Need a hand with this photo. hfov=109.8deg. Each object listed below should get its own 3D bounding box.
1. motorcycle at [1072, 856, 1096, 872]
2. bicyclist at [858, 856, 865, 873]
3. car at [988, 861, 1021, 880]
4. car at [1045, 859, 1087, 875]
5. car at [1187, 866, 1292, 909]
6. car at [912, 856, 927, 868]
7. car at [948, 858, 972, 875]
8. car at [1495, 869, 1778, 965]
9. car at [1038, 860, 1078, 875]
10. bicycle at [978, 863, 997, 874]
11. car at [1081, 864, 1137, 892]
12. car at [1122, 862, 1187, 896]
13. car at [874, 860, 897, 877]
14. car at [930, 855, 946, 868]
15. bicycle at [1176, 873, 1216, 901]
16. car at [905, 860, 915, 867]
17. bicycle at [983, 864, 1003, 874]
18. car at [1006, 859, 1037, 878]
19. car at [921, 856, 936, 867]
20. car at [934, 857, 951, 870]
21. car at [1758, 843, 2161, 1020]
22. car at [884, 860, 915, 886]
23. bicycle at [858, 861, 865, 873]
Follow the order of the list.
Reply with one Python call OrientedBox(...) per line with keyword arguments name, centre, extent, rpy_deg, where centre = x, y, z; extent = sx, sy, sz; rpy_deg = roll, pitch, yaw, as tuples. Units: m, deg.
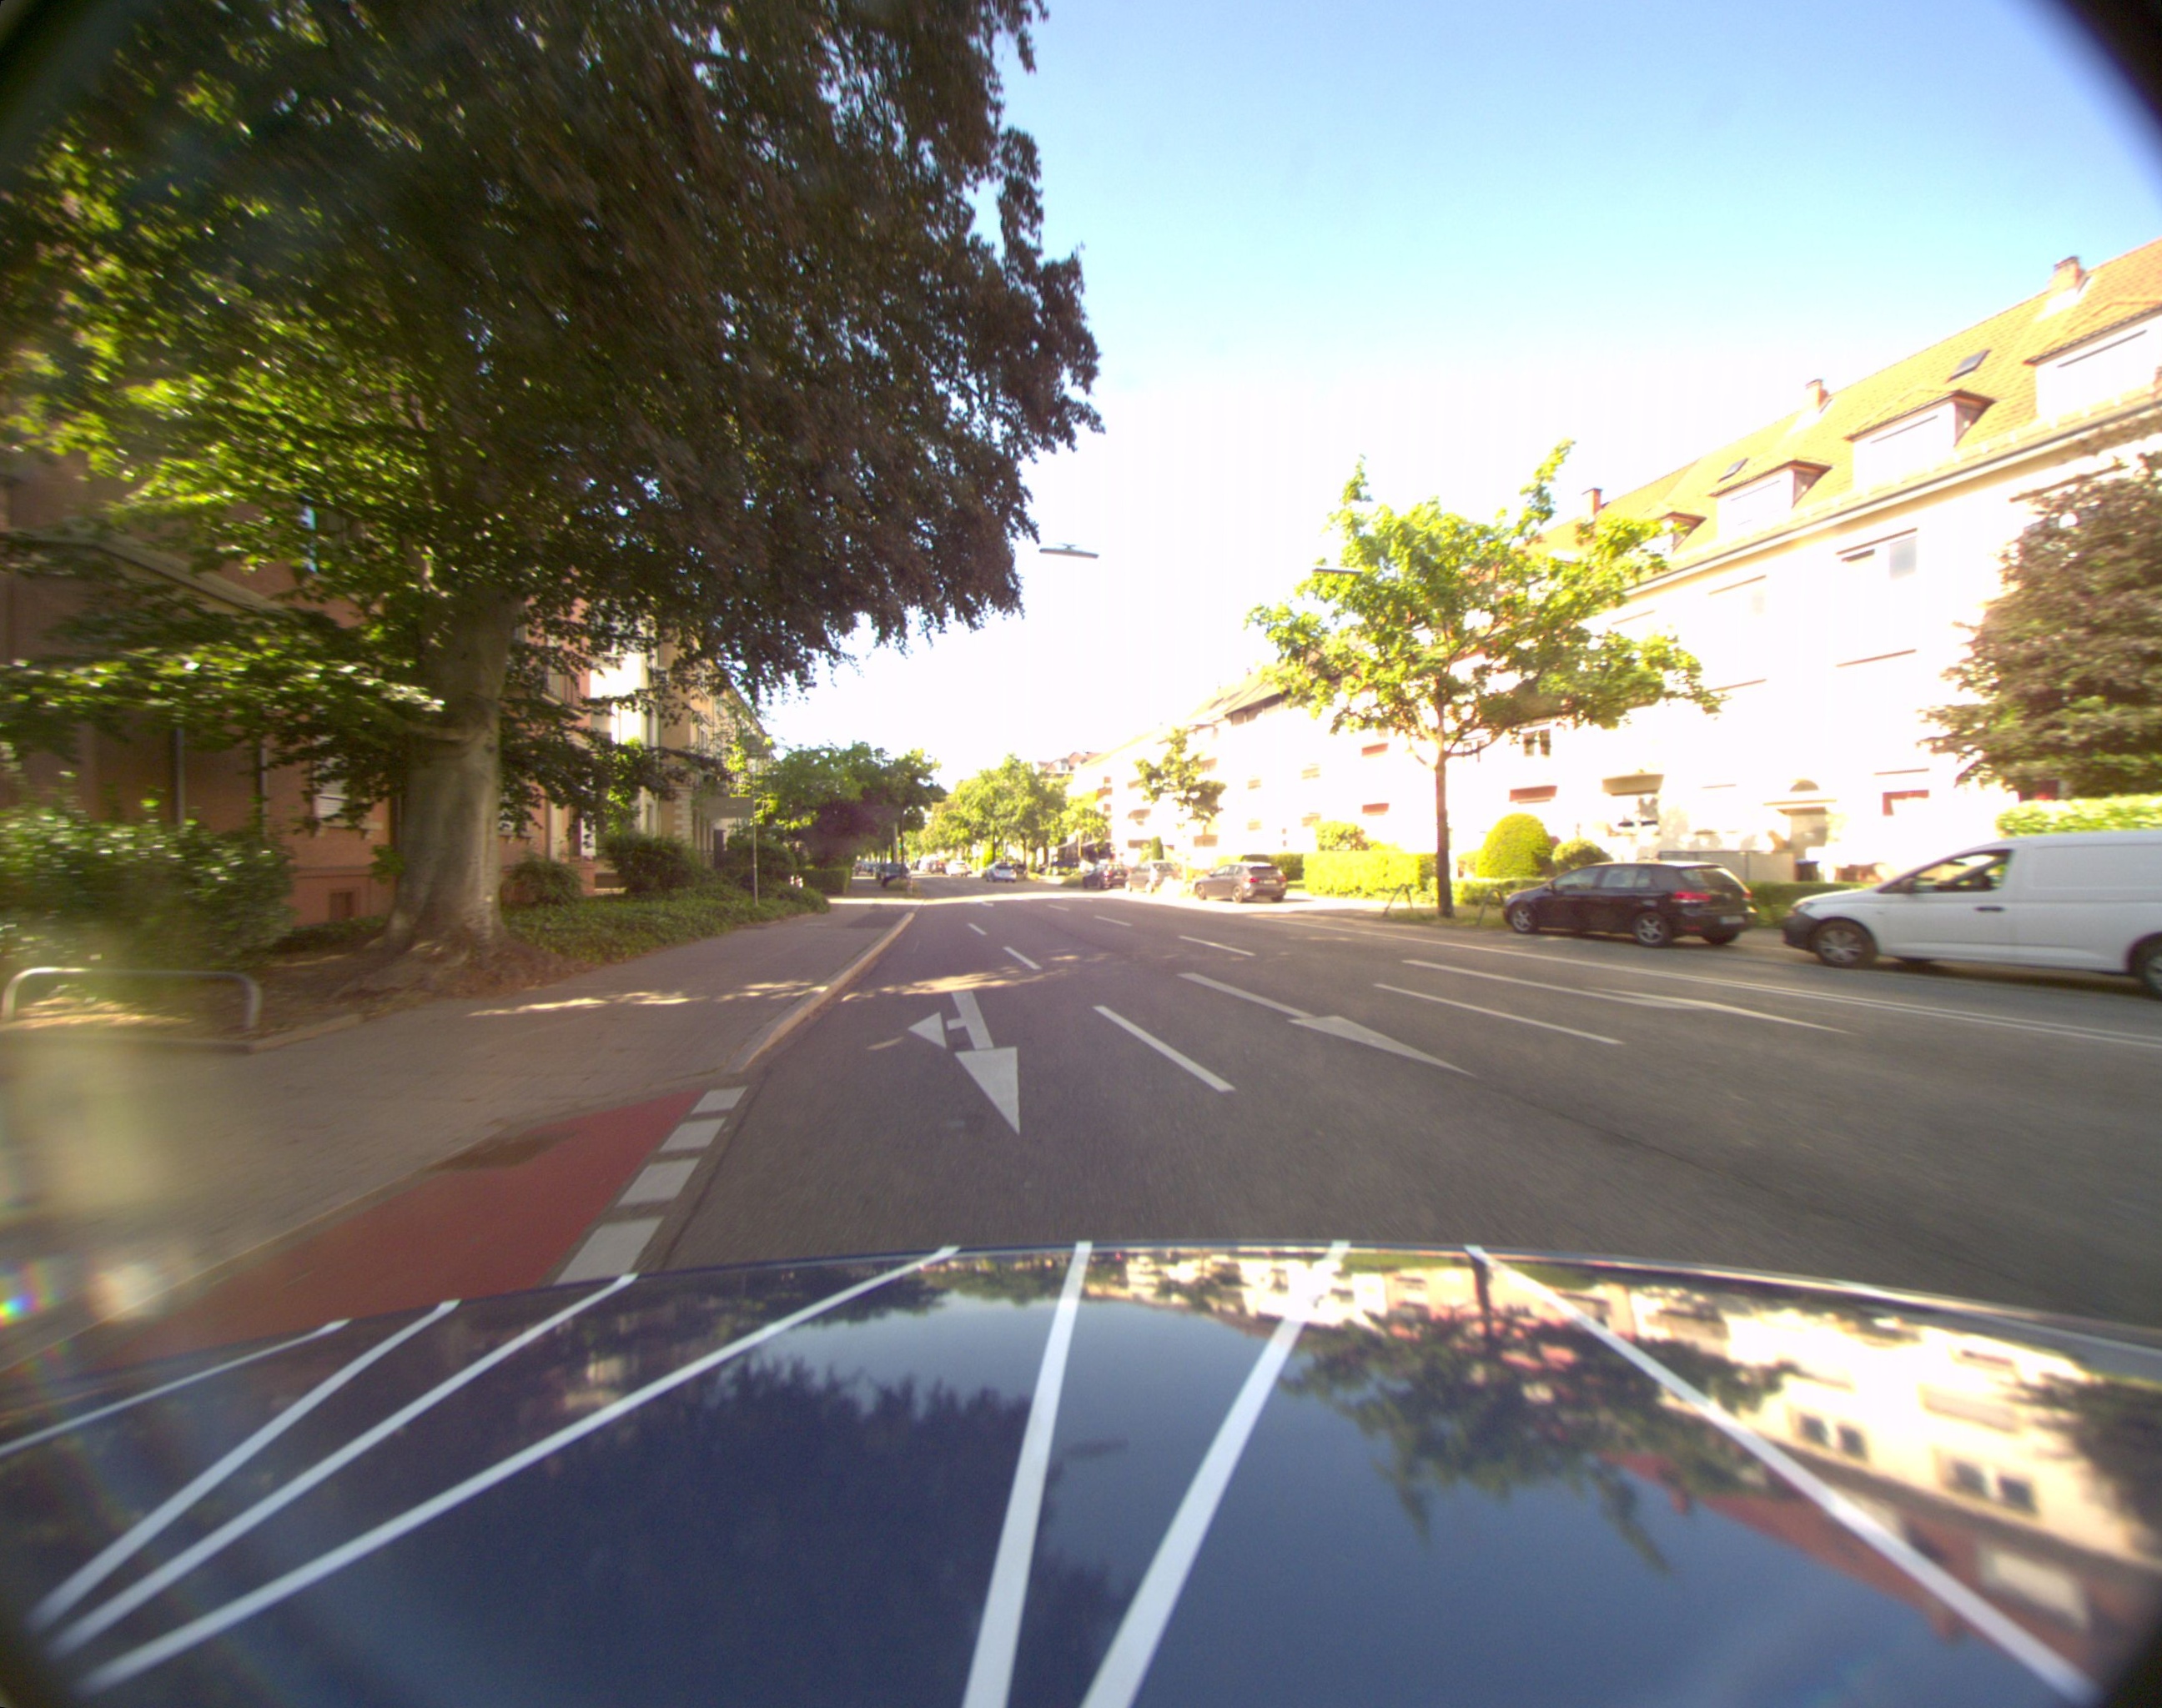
OrientedBox(name="motorcycle", centre=(0.309, 0.969, 73.515), extent=(2.157, 1.477, 0.781), rpy_deg=(-1, 0, -8))
OrientedBox(name="bicyclist", centre=(-23.162, 1.085, 80.251), extent=(0.727, 1.782, 1.014), rpy_deg=(1, 0, -16))
OrientedBox(name="car", centre=(-5.841, 1.225, 57.767), extent=(1.744, 1.373, 3.931), rpy_deg=(1, -1, -17))
OrientedBox(name="car", centre=(-1.509, 1.289, 75.473), extent=(4.000, 1.452, 1.732), rpy_deg=(-1, 0, -8))
OrientedBox(name="car", centre=(5.766, 1.181, 28.205), extent=(1.775, 1.400, 4.359), rpy_deg=(-1, 0, -20))
OrientedBox(name="car", centre=(-28.363, 1.404, 133.195), extent=(2.024, 1.940, 5.170), rpy_deg=(2, -1, -17))
OrientedBox(name="car", centre=(-13.120, 1.332, 82.105), extent=(1.814, 1.638, 4.666), rpy_deg=(2, -1, -17))
OrientedBox(name="car", centre=(10.045, 1.035, 14.184), extent=(1.677, 1.448, 4.105), rpy_deg=(-1, 0, -15))
OrientedBox(name="car", centre=(-2.325, 1.357, 78.573), extent=(3.996, 1.447, 1.733), rpy_deg=(-1, 0, 2))
OrientedBox(name="bicycle", centre=(-10.088, 1.564, 81.871), extent=(1.933, 1.128, 0.463), rpy_deg=(-1, 0, 11))
OrientedBox(name="car", centre=(1.532, 1.302, 43.059), extent=(1.792, 1.484, 4.486), rpy_deg=(0, 0, -17))
OrientedBox(name="car", centre=(3.499, 1.169, 36.758), extent=(1.682, 1.516, 3.652), rpy_deg=(-3, 0, -20))
OrientedBox(name="car", centre=(-17.469, 1.279, 67.806), extent=(1.721, 1.480, 4.228), rpy_deg=(0, 0, -18))
OrientedBox(name="car", centre=(-21.058, 1.106, 111.601), extent=(1.810, 1.899, 4.705), rpy_deg=(2, -1, -17))
OrientedBox(name="bicycle", centre=(4.769, 1.373, 31.591), extent=(1.550, 1.127, 0.547), rpy_deg=(0, 0, -18))
OrientedBox(name="car", centre=(-34.488, 1.897, 153.288), extent=(1.740, 1.404, 4.186), rpy_deg=(2, -1, -16))
OrientedBox(name="bicycle", centre=(-9.162, 1.562, 79.041), extent=(2.027, 1.085, 0.462), rpy_deg=(-1, 0, 7))
OrientedBox(name="car", centre=(-5.164, 1.235, 65.293), extent=(1.729, 1.527, 4.673), rpy_deg=(-2, 0, -16))
OrientedBox(name="car", centre=(-24.140, 1.201, 120.135), extent=(1.823, 1.732, 4.486), rpy_deg=(2, -1, -17))
OrientedBox(name="car", centre=(-18.708, 1.273, 102.678), extent=(1.726, 1.556, 4.336), rpy_deg=(2, -1, -17))
OrientedBox(name="car", centre=(11.564, 0.797, 9.326), extent=(1.826, 1.823, 4.555), rpy_deg=(-1, 0, -18))
OrientedBox(name="car", centre=(-11.350, 1.161, 47.370), extent=(1.566, 1.506, 3.649), rpy_deg=(2, -1, -18))
OrientedBox(name="bicycle", centre=(-23.145, 1.347, 80.168), extent=(0.701, 1.239, 1.819), rpy_deg=(1, -1, -16))
